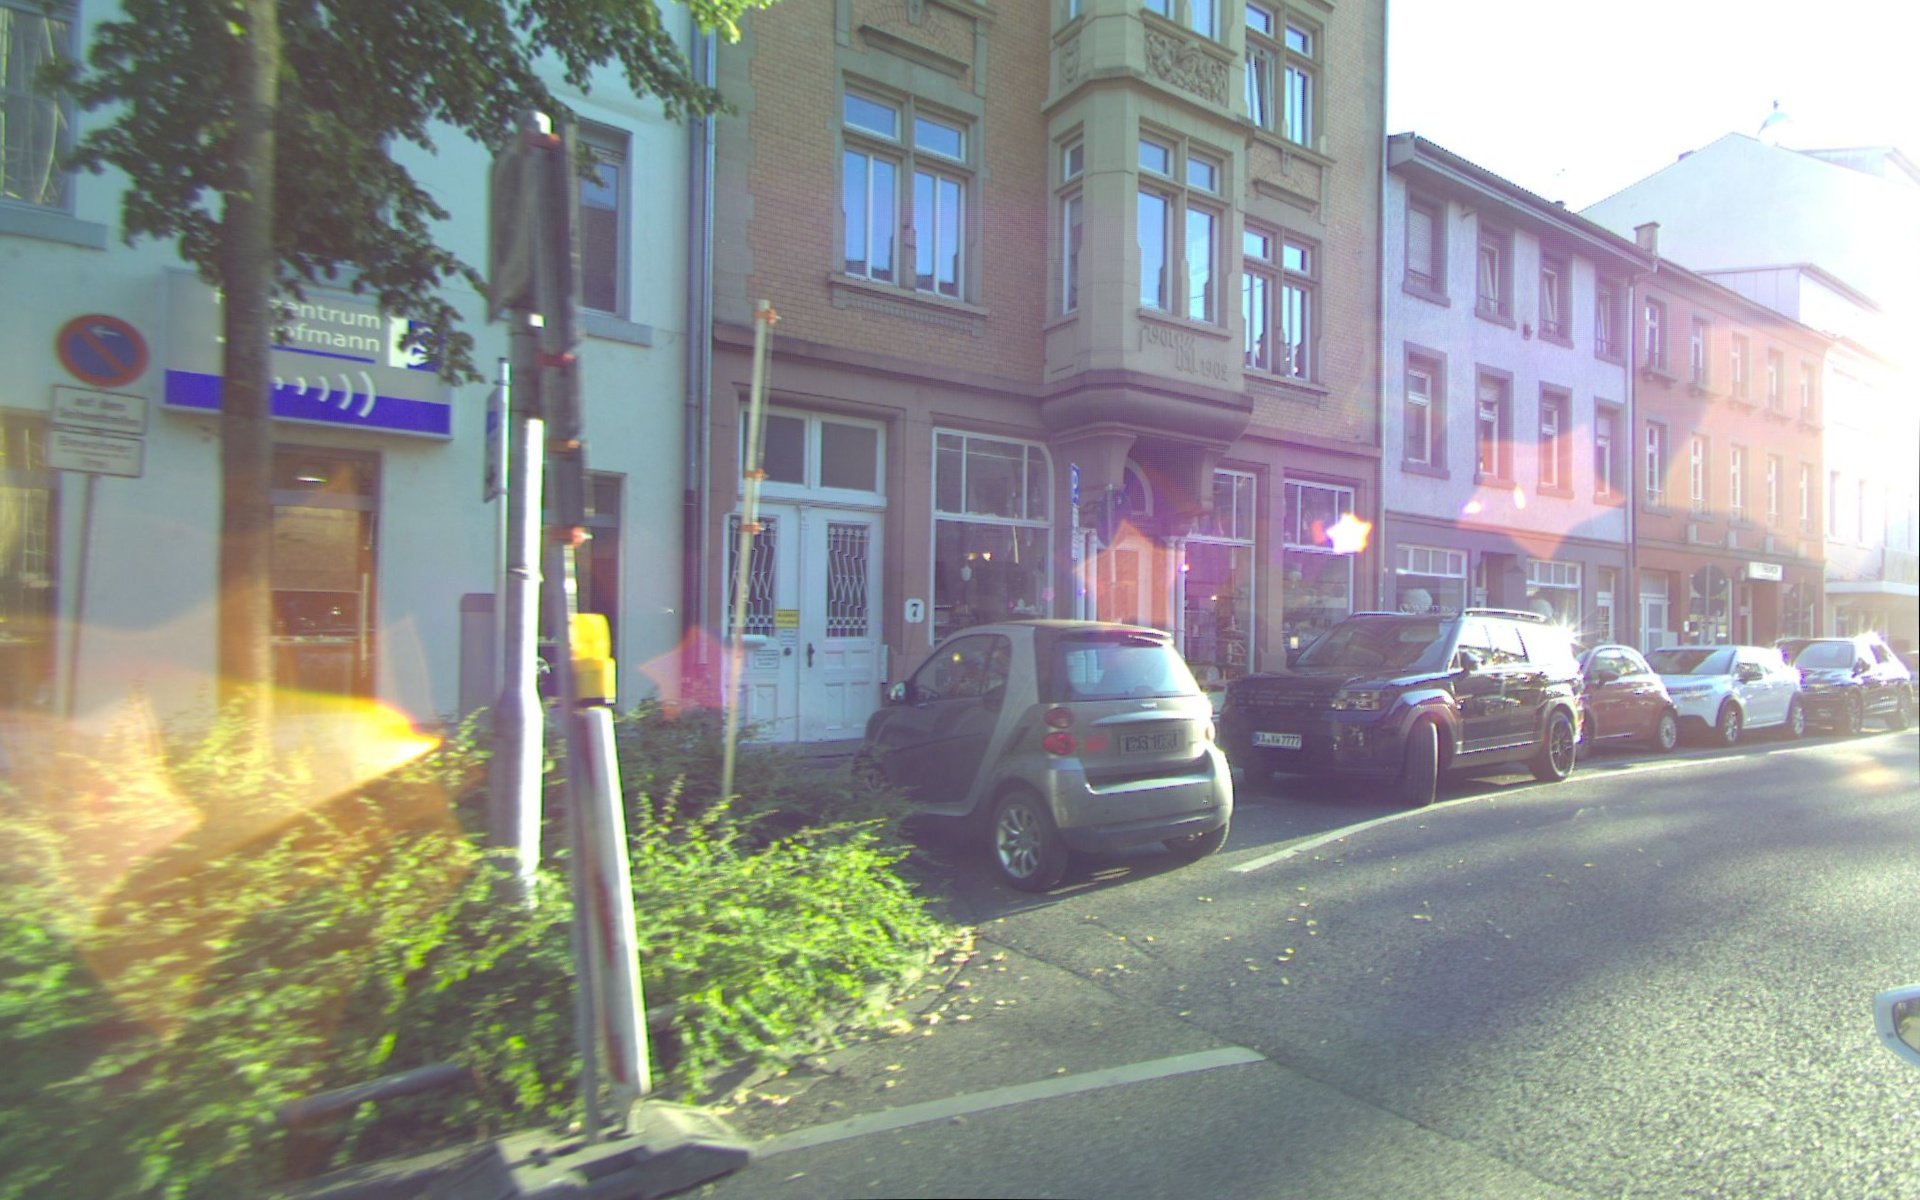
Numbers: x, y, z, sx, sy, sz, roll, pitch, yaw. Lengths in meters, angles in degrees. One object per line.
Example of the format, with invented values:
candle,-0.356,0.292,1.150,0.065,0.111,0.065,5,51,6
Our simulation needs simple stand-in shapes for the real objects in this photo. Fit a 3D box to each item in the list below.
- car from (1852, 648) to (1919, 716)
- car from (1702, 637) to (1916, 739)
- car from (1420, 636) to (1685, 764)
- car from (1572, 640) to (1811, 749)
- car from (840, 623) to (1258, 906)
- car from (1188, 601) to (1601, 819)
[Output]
car,22.376,1.842,23.097,4.263,1.459,1.703,2,-3,-33
car,15.356,1.511,18.114,4.192,1.654,1.764,2,-3,-33
car,8.172,1.293,13.816,3.446,1.534,1.764,2,-3,-33
car,11.638,1.406,15.933,3.907,1.535,1.764,2,-3,-33
car,0.490,0.969,7.070,1.556,1.540,2.676,0,-3,-36
car,4.581,0.995,10.281,4.660,1.751,1.890,2,-3,-38
